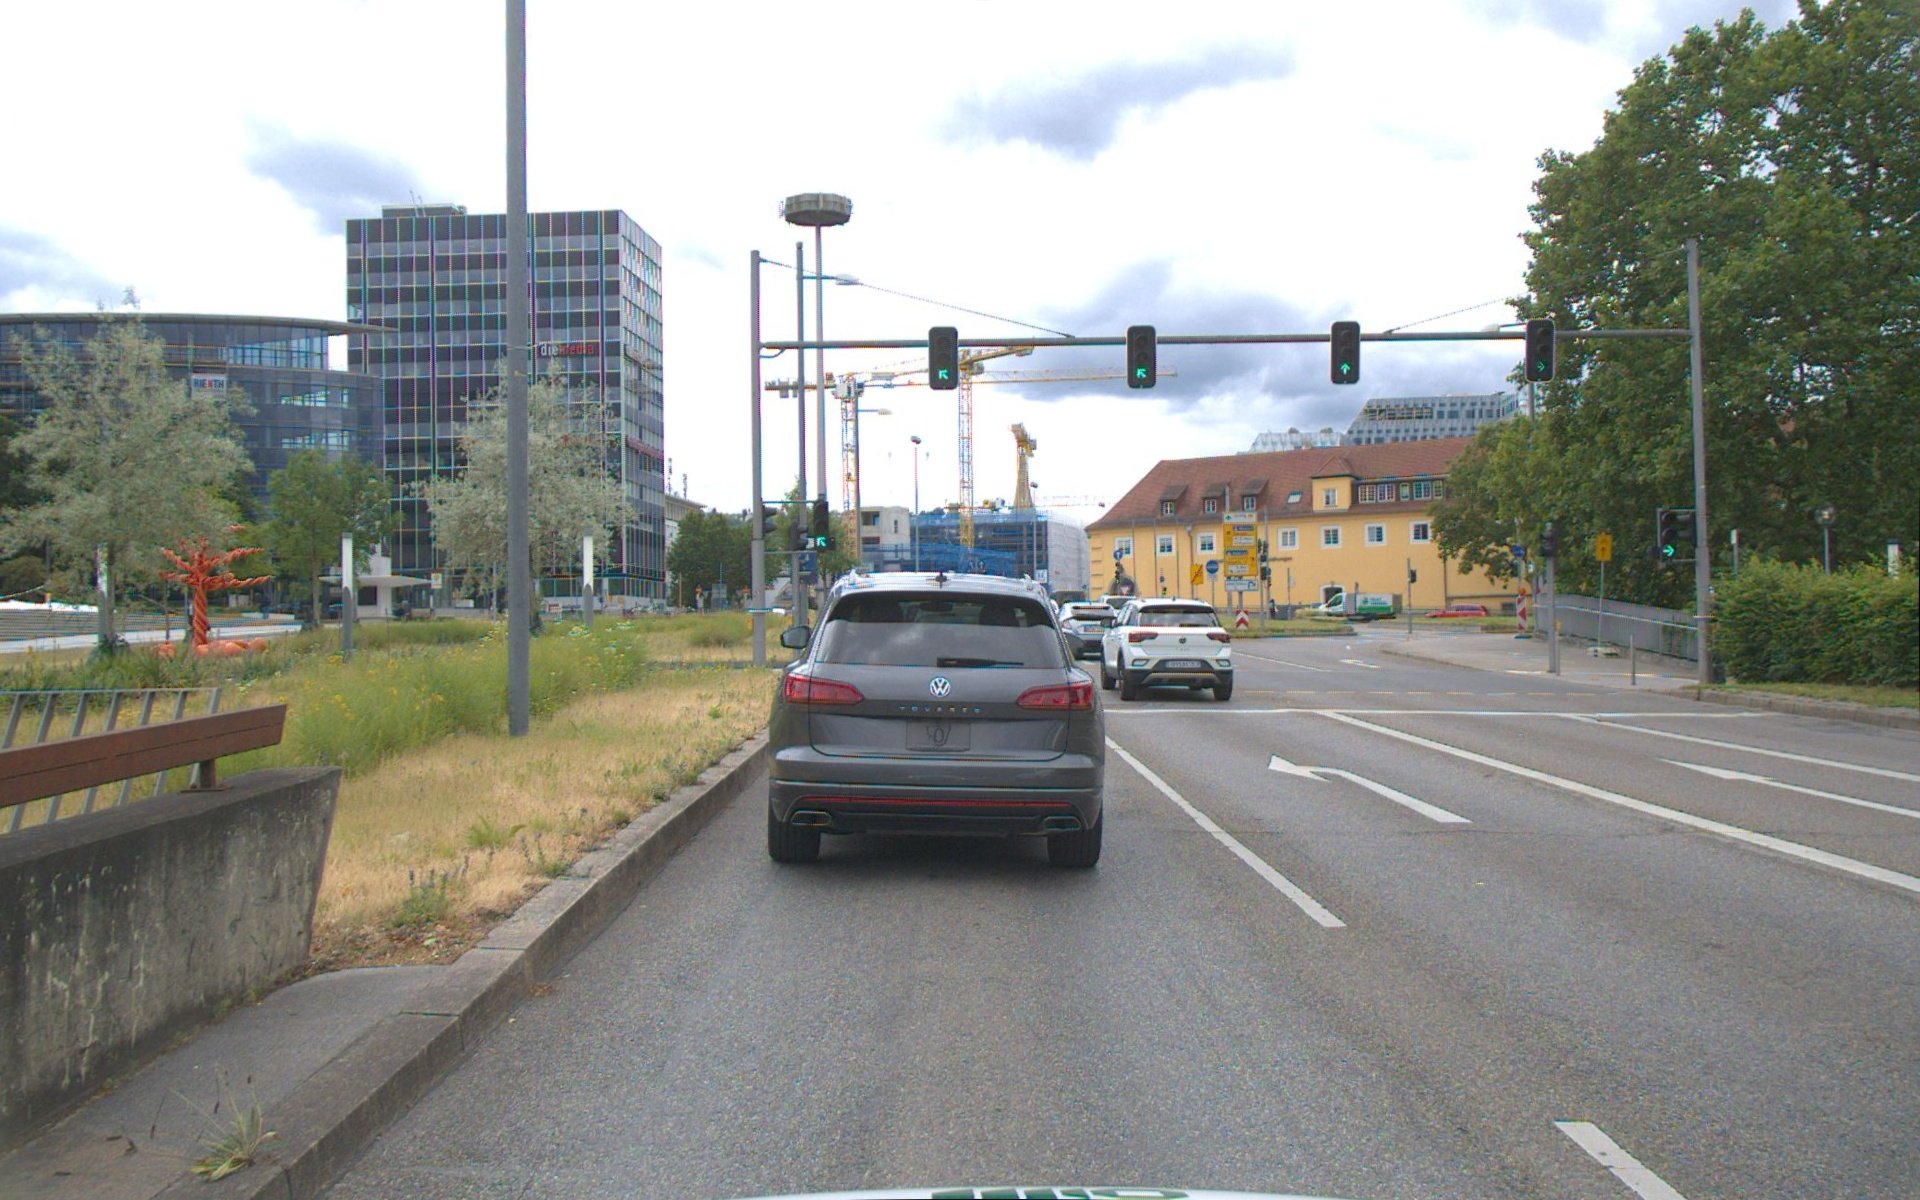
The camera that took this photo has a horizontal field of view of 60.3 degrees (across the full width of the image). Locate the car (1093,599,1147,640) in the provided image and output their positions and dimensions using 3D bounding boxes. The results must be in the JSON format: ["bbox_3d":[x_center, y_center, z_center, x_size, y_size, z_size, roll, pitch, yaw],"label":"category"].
[{"bbox_3d":[6.166,0.723,64.045,1.766,1.529,3.981,0,0,1],"label":"car"}]

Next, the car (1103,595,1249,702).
[{"bbox_3d":[3.427,0.729,26.917,1.855,1.613,3.800,0,0,0],"label":"car"}]

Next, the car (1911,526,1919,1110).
[{"bbox_3d":[3.661,0.637,2.614,1.782,1.676,4.378,0,0,0],"label":"car"}]

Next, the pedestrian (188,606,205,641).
[{"bbox_3d":[-36.616,1.106,79.347,0.513,1.678,0.650,0,-1,-2],"label":"pedestrian"}]

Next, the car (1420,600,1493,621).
[{"bbox_3d":[34.071,0.736,113.504,4.592,1.445,1.593,-1,-1,32],"label":"car"}]

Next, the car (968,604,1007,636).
[{"bbox_3d":[1.498,1.099,92.316,2.095,1.758,4.070,0,0,0],"label":"car"}]

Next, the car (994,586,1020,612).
[{"bbox_3d":[3.768,-0.124,133.381,1.953,2.049,3.999,0,0,-1],"label":"car"}]

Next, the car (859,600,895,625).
[{"bbox_3d":[-5.211,0.792,103.720,1.688,1.529,3.969,0,0,-12],"label":"car"}]

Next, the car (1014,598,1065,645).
[{"bbox_3d":[2.732,0.703,56.648,1.683,1.529,3.983,0,0,3],"label":"car"}]

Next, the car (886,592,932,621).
[{"bbox_3d":[-2.866,0.332,91.828,2.201,1.529,4.605,0,0,-6],"label":"car"}]

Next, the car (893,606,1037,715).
[{"bbox_3d":[0.044,0.830,24.538,1.953,1.411,4.000,0,1,-1],"label":"car"}]

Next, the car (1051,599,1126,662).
[{"bbox_3d":[3.286,0.751,42.934,1.683,1.529,4.144,0,0,1],"label":"car"}]

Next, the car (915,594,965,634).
[{"bbox_3d":[-0.830,0.534,66.339,1.778,1.522,3.903,0,0,-4],"label":"car"}]

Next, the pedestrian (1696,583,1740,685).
[{"bbox_3d":[13.445,0.601,29.359,0.469,1.795,0.620,0,0,-4],"label":"pedestrian"}]

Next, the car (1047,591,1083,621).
[{"bbox_3d":[5.491,0.303,87.010,1.683,1.529,3.981,0,0,1],"label":"car"}]

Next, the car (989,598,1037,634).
[{"bbox_3d":[2.299,0.666,72.722,1.778,1.522,3.904,0,0,-3],"label":"car"}]

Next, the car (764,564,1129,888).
[{"bbox_3d":[-0.090,0.642,10.592,1.893,1.676,3.999,0,0,-1],"label":"car"}]

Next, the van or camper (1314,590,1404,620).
[{"bbox_3d":[28.310,0.370,117.395,5.902,2.049,2.012,-1,-1,35],"label":"van or camper"}]
